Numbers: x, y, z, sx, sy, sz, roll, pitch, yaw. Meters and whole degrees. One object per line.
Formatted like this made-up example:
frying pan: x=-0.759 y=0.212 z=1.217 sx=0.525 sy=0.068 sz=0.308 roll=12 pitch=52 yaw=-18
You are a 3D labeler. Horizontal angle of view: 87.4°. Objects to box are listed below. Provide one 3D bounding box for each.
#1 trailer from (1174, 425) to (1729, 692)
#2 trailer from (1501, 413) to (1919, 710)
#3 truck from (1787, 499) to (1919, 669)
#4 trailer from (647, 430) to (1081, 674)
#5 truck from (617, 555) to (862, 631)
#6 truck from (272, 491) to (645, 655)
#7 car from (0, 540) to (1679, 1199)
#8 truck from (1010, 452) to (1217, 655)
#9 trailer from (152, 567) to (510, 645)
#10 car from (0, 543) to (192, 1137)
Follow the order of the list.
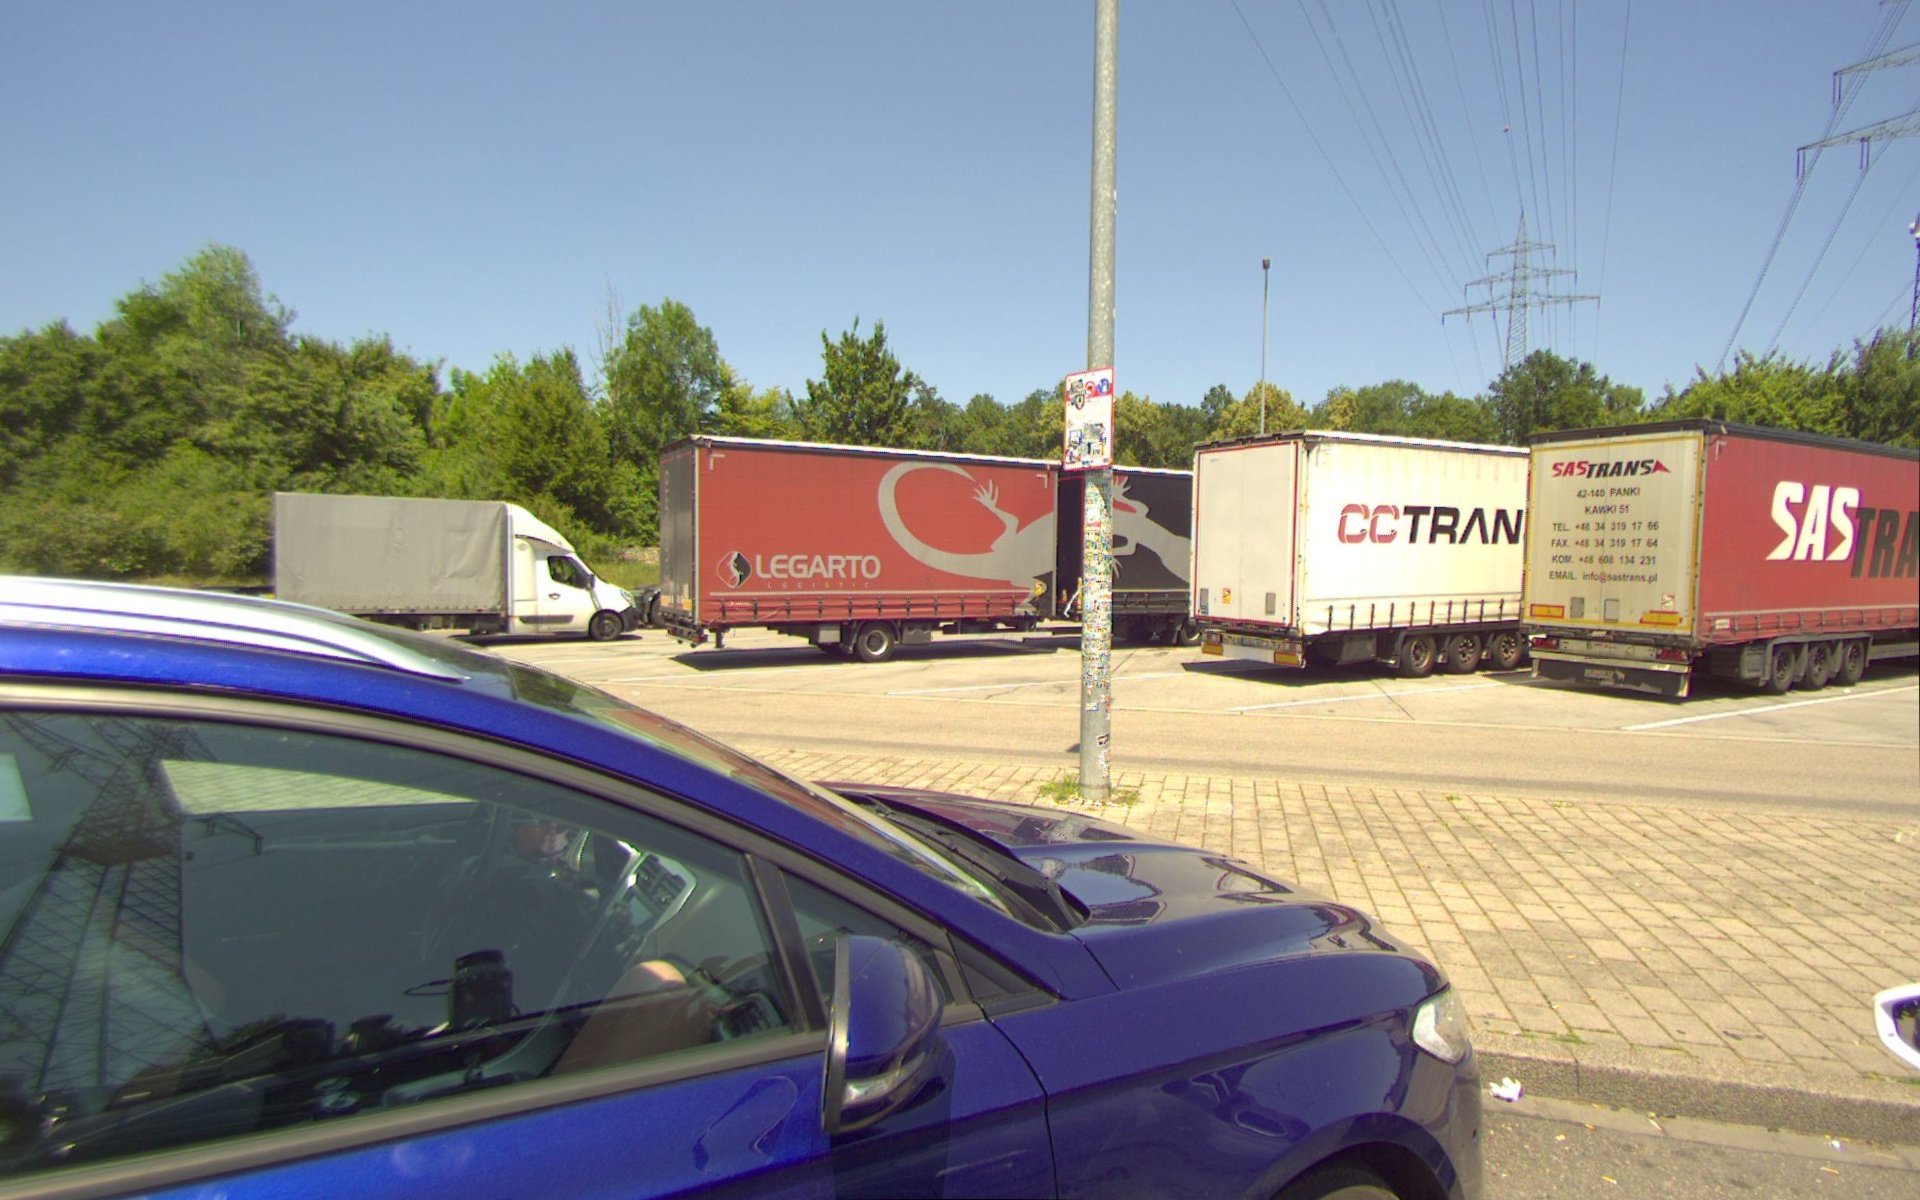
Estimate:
trailer: x=10.576 y=-0.799 z=20.340 sx=13.962 sy=4.141 sz=2.782 roll=-1 pitch=3 yaw=-30
trailer: x=15.596 y=-0.690 z=18.728 sx=13.962 sy=4.141 sz=2.777 roll=-1 pitch=3 yaw=-30
truck: x=21.199 y=-0.391 z=22.005 sx=5.829 sy=3.373 sz=2.837 roll=-1 pitch=3 yaw=-30
trailer: x=-1.754 y=-0.899 z=20.333 sx=8.376 sy=4.141 sz=2.722 roll=-1 pitch=3 yaw=-30
truck: x=-6.357 y=-0.229 z=29.278 sx=6.733 sy=2.041 sz=1.987 roll=-1 pitch=1 yaw=-26
truck: x=-11.200 y=-0.624 z=23.029 sx=7.204 sy=3.279 sz=2.727 roll=-1 pitch=3 yaw=-29
car: x=-1.048 y=0.680 z=1.497 sx=4.444 sy=1.511 sz=1.859 roll=0 pitch=2 yaw=-32
truck: x=3.559 y=-1.065 z=23.453 sx=3.947 sy=4.298 sz=2.723 roll=-1 pitch=3 yaw=-30
trailer: x=-15.175 y=0.057 z=24.899 sx=7.204 sy=1.711 sz=2.249 roll=-1 pitch=3 yaw=-29
car: x=-4.624 y=0.602 z=2.230 sx=4.444 sy=1.520 sz=1.762 roll=0 pitch=2 yaw=-32
